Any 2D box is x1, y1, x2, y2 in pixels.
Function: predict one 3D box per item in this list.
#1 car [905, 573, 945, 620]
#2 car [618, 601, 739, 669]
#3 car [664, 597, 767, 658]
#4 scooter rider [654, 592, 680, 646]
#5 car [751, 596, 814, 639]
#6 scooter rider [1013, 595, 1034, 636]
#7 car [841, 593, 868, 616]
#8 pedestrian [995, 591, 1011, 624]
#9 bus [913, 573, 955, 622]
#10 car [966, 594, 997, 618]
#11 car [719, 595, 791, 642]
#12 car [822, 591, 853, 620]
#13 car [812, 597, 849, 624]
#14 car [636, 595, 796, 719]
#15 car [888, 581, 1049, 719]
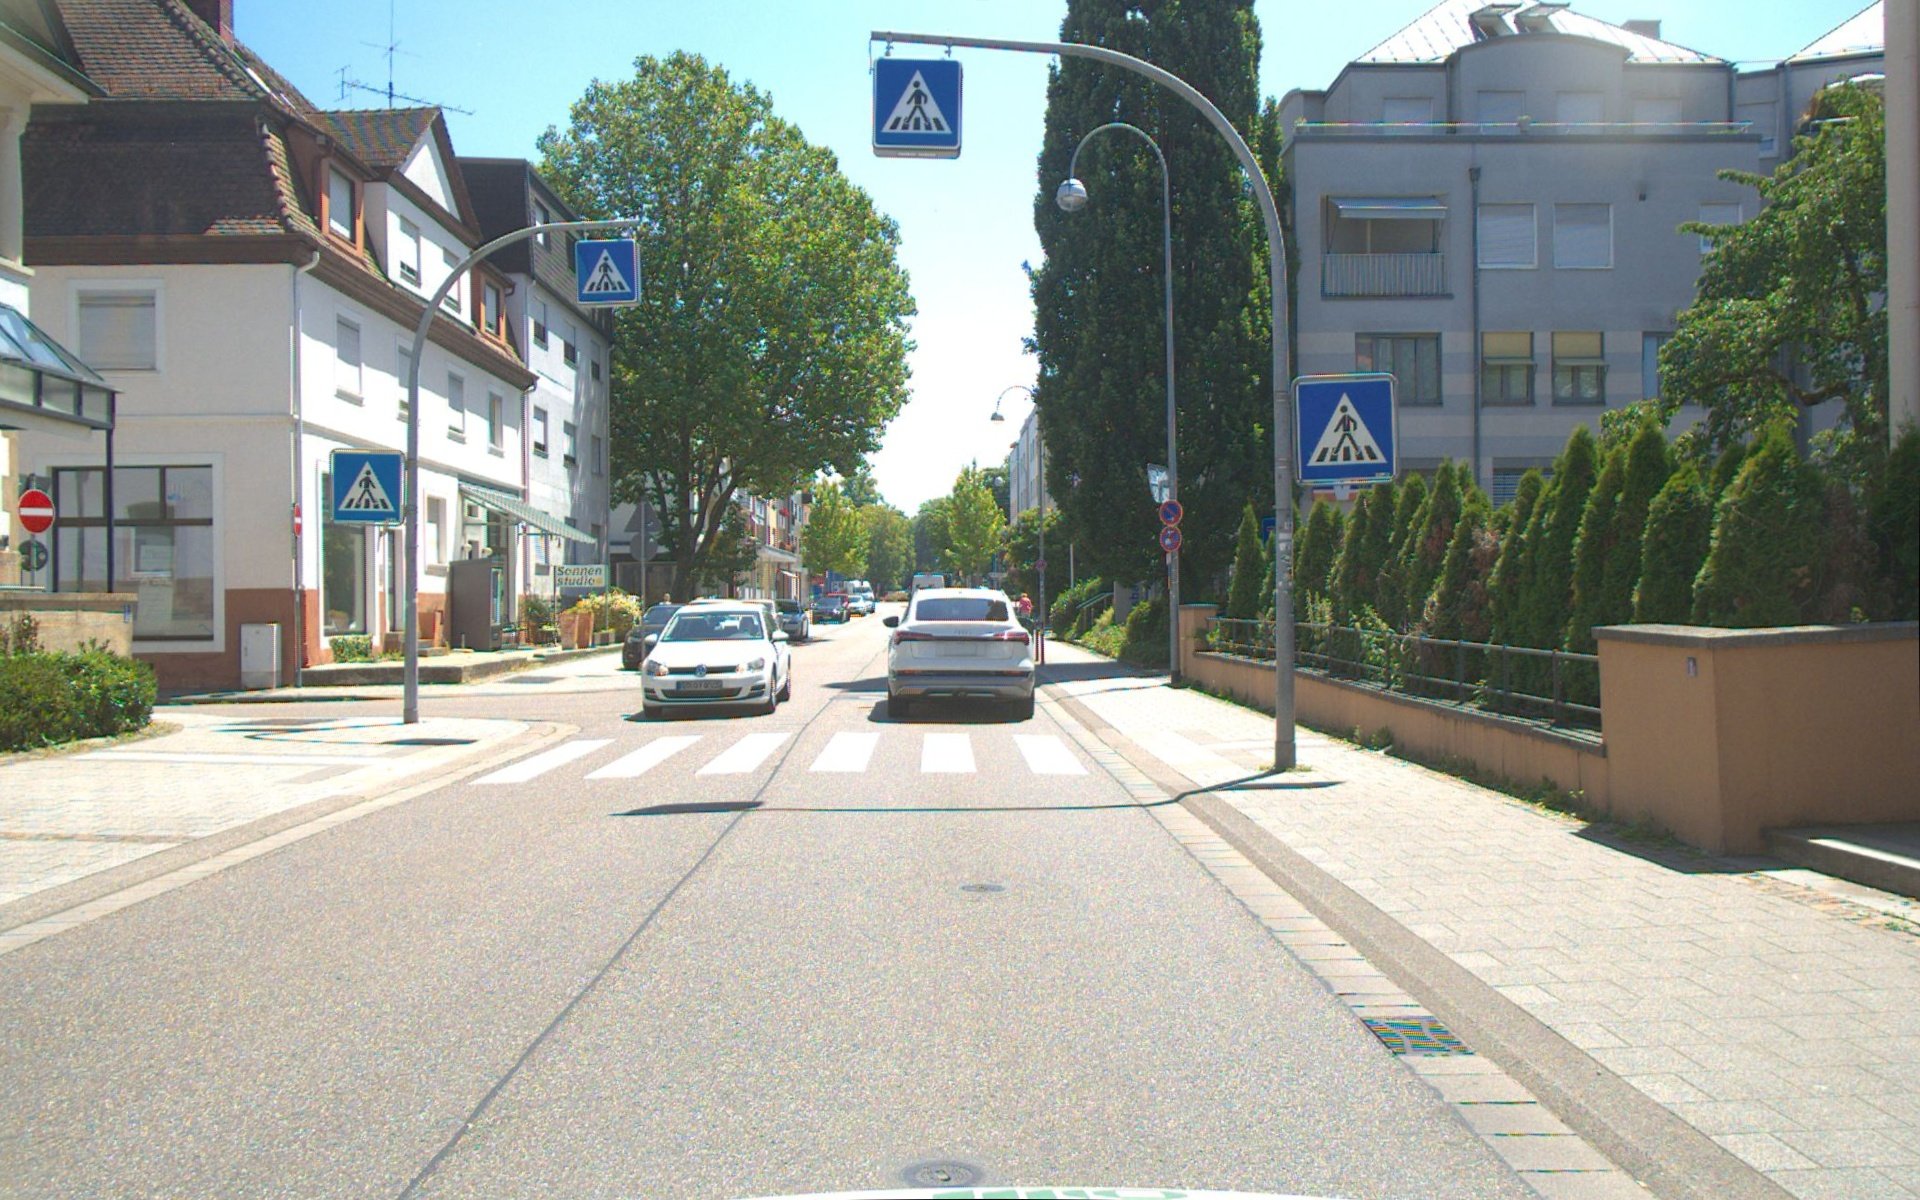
[{"bbox_3d":[-1.933,-0.164,91.833,2.112,2.484,5.282,1,0,-1],"label":"car"},{"bbox_3d":[-6.245,0.732,37.228,1.903,1.397,5.097,0,0,-1],"label":"car"},{"bbox_3d":[-6.325,0.659,43.296,1.940,1.477,5.357,0,0,-1],"label":"car"},{"bbox_3d":[-8.913,0.579,50.334,0.576,1.603,0.877,2,0,0],"label":"scooter rider"},{"bbox_3d":[-6.480,0.613,60.913,1.941,1.477,5.148,0,0,-2],"label":"car"},{"bbox_3d":[2.514,0.598,65.283,0.701,1.576,0.770,-2,0,-3],"label":"scooter rider"},{"bbox_3d":[-8.010,0.330,125.742,1.716,1.646,4.400,1,0,0],"label":"car"},{"bbox_3d":[2.235,0.384,85.580,0.686,1.655,0.783,-3,0,-2],"label":"pedestrian"},{"bbox_3d":[-1.780,-0.154,116.930,2.606,3.278,7.302,1,0,1],"label":"bus"},{"bbox_3d":[1.356,0.343,103.351,1.857,1.463,4.544,-1,0,1],"label":"car"},{"bbox_3d":[-6.756,0.593,55.011,1.941,1.477,4.866,0,0,-2],"label":"car"},{"bbox_3d":[-7.575,0.339,102.440,1.717,1.732,4.100,1,0,-2],"label":"car"},{"bbox_3d":[-7.494,0.582,95.966,1.858,1.442,5.046,1,0,-2],"label":"car"},{"bbox_3d":[-3.310,0.729,23.087,1.772,1.508,3.867,-2,0,-3],"label":"car"},{"bbox_3d":[0.029,0.606,22.243,1.953,1.661,3.998,1,0,-2],"label":"car"}]
